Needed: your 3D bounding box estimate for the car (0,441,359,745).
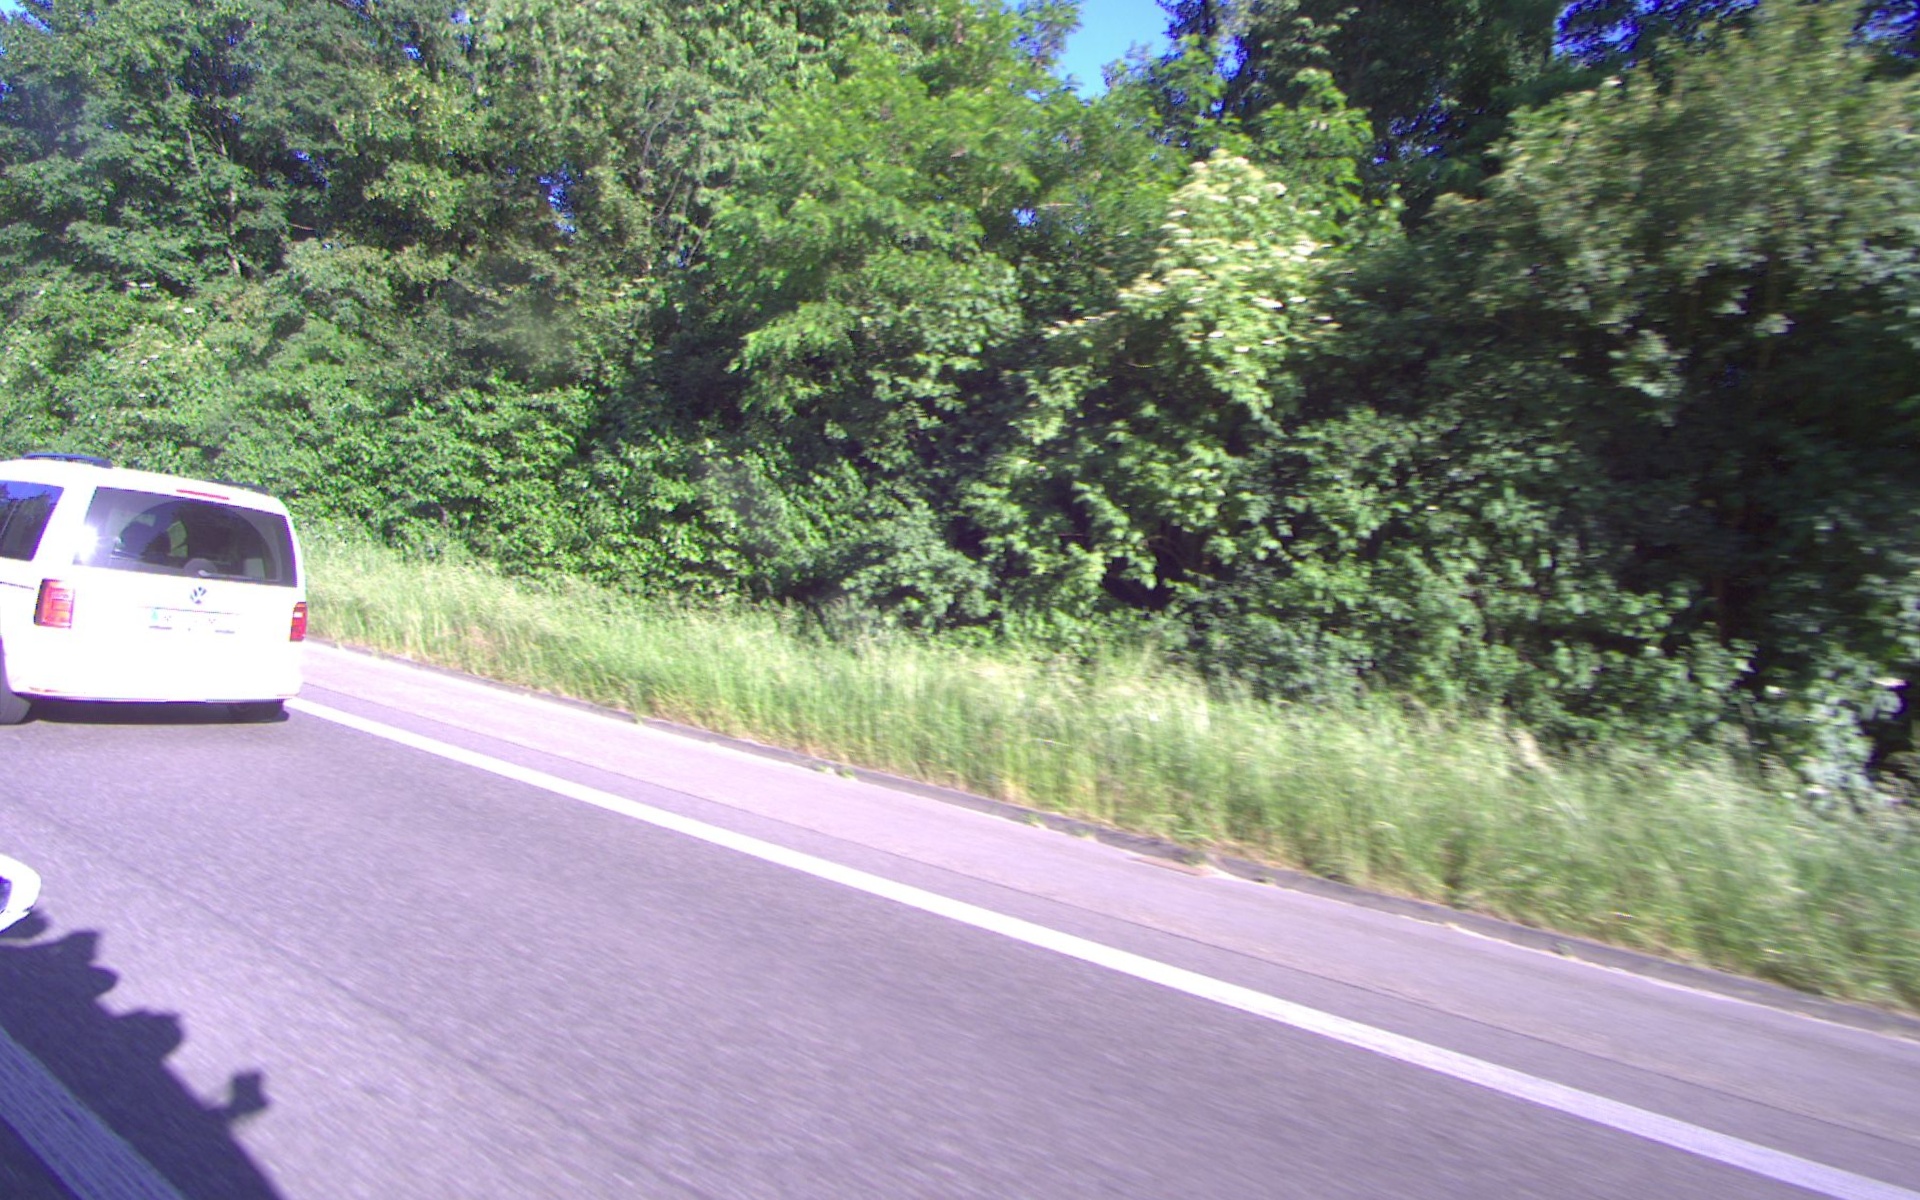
[{"bbox_3d":[-7.048,-0.158,8.017,4.511,1.834,1.803,6,-2,31],"label":"car"}]
